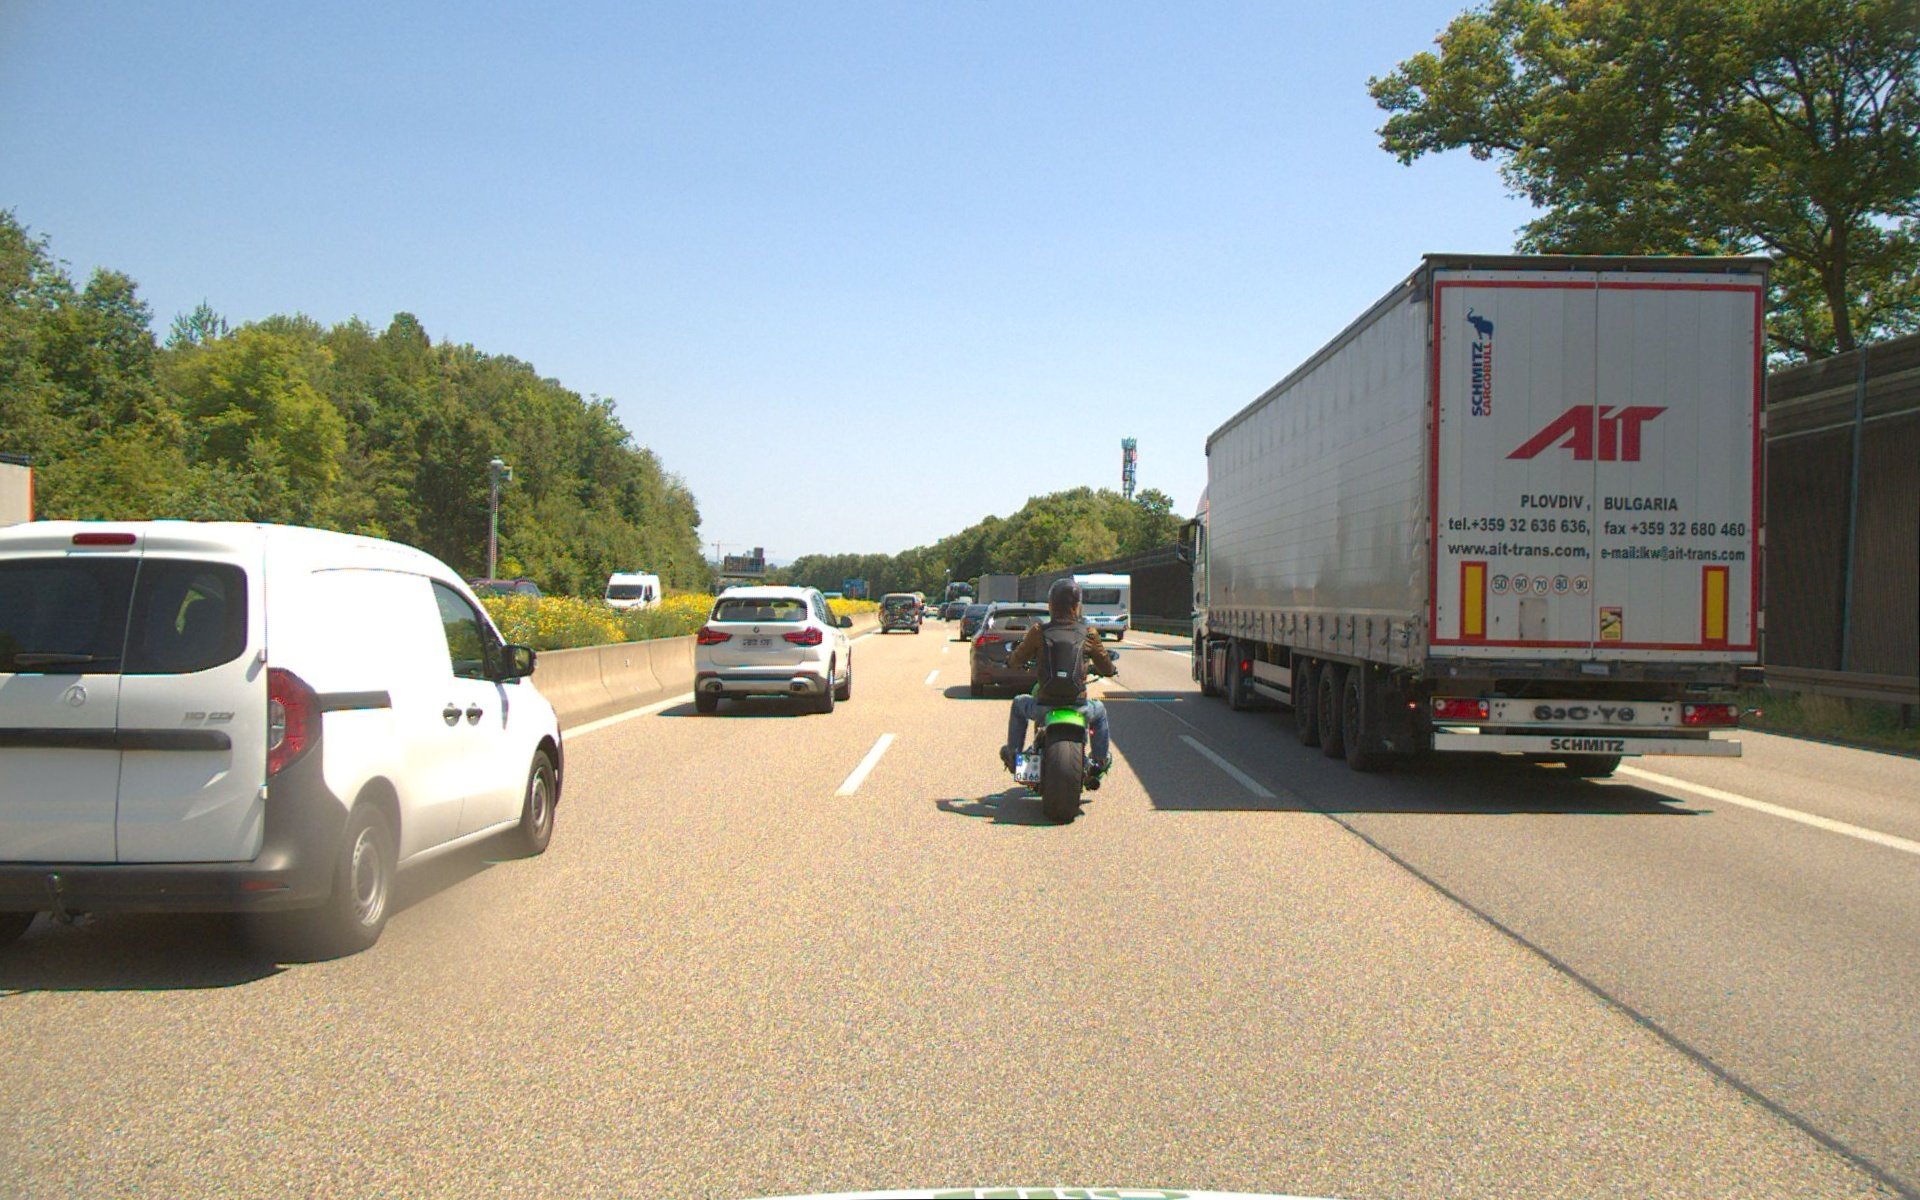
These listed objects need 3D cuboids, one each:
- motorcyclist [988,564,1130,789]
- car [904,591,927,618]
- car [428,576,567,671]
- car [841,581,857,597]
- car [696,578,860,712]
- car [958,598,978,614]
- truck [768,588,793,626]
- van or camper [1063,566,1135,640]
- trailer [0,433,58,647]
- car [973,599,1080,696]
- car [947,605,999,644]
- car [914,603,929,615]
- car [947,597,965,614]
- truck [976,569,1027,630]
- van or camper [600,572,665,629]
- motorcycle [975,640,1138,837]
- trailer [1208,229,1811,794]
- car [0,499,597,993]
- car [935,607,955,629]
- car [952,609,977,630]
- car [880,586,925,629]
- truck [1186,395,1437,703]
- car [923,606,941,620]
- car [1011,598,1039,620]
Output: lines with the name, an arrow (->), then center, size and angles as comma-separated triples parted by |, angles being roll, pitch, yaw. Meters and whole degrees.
motorcyclist -> 0.760, 0.527, 12.042 | 0.880, 1.501, 1.873 | 0, -1, 8
car -> -3.500, 0.377, 131.400 | 1.755, 2.049, 3.641 | 0, -1, -1
car -> -10.514, 0.551, 37.895 | 1.952, 2.049, 4.000 | 0, -1, 1
car -> -14.406, -1.474, 214.380 | 1.955, 2.049, 3.996 | 0, 0, -5
car -> -2.496, 0.591, 23.764 | 1.826, 1.724, 4.955 | 0, 0, 0
car -> 0.936, 0.715, 194.182 | 2.065, 1.909, 3.998 | 0, -1, -3
truck -> -26.365, 1.136, 243.426 | 3.412, 5.369, 10.007 | 1, -2, -5
van or camper -> 5.622, 0.199, 67.832 | 2.629, 2.862, 6.804 | 0, -1, 2
trailer -> -20.823, -1.304, 28.816 | 2.866, 4.306, 13.064 | 0, -1, 1
car -> 1.091, 0.776, 27.363 | 1.628, 1.478, 3.869 | 0, -1, 2
car -> 0.514, 0.971, 63.960 | 1.952, 1.455, 3.847 | 0, -1, 1
car -> -5.070, 1.185, 218.627 | 1.796, 1.522, 3.740 | 1, -1, -4
car -> -0.489, 0.676, 199.500 | 2.065, 1.909, 3.999 | 0, -1, 0
truck -> 3.532, 0.031, 144.364 | 3.727, 5.047, 8.944 | 0, -1, -3
van or camper -> -16.505, 0.009, 83.741 | 2.042, 2.748, 6.152 | 0, 0, 0
motorcycle -> 0.762, 0.912, 11.956 | 0.944, 1.168, 2.814 | 1, 0, 8
trailer -> 5.036, -0.642, 18.949 | 2.825, 4.109, 13.798 | 0, 0, 2
car -> -3.282, 0.553, 8.532 | 1.728, 1.844, 4.674 | 0, 0, 1
car -> -1.507, 1.776, 163.181 | 1.873, 2.049, 3.688 | 0, -1, -3
car -> 0.348, 1.596, 133.154 | 1.953, 1.669, 3.999 | 0, -1, 0
car -> -2.669, 0.390, 77.316 | 1.860, 1.906, 4.412 | 0, -1, 1
truck -> 5.239, -0.702, 25.742 | 2.826, 4.219, 5.987 | 0, 0, 2
car -> -3.192, 1.427, 186.289 | 1.796, 1.522, 3.740 | 1, -1, -4
car -> 4.887, 0.677, 125.164 | 1.953, 1.602, 3.999 | 0, -1, -1
